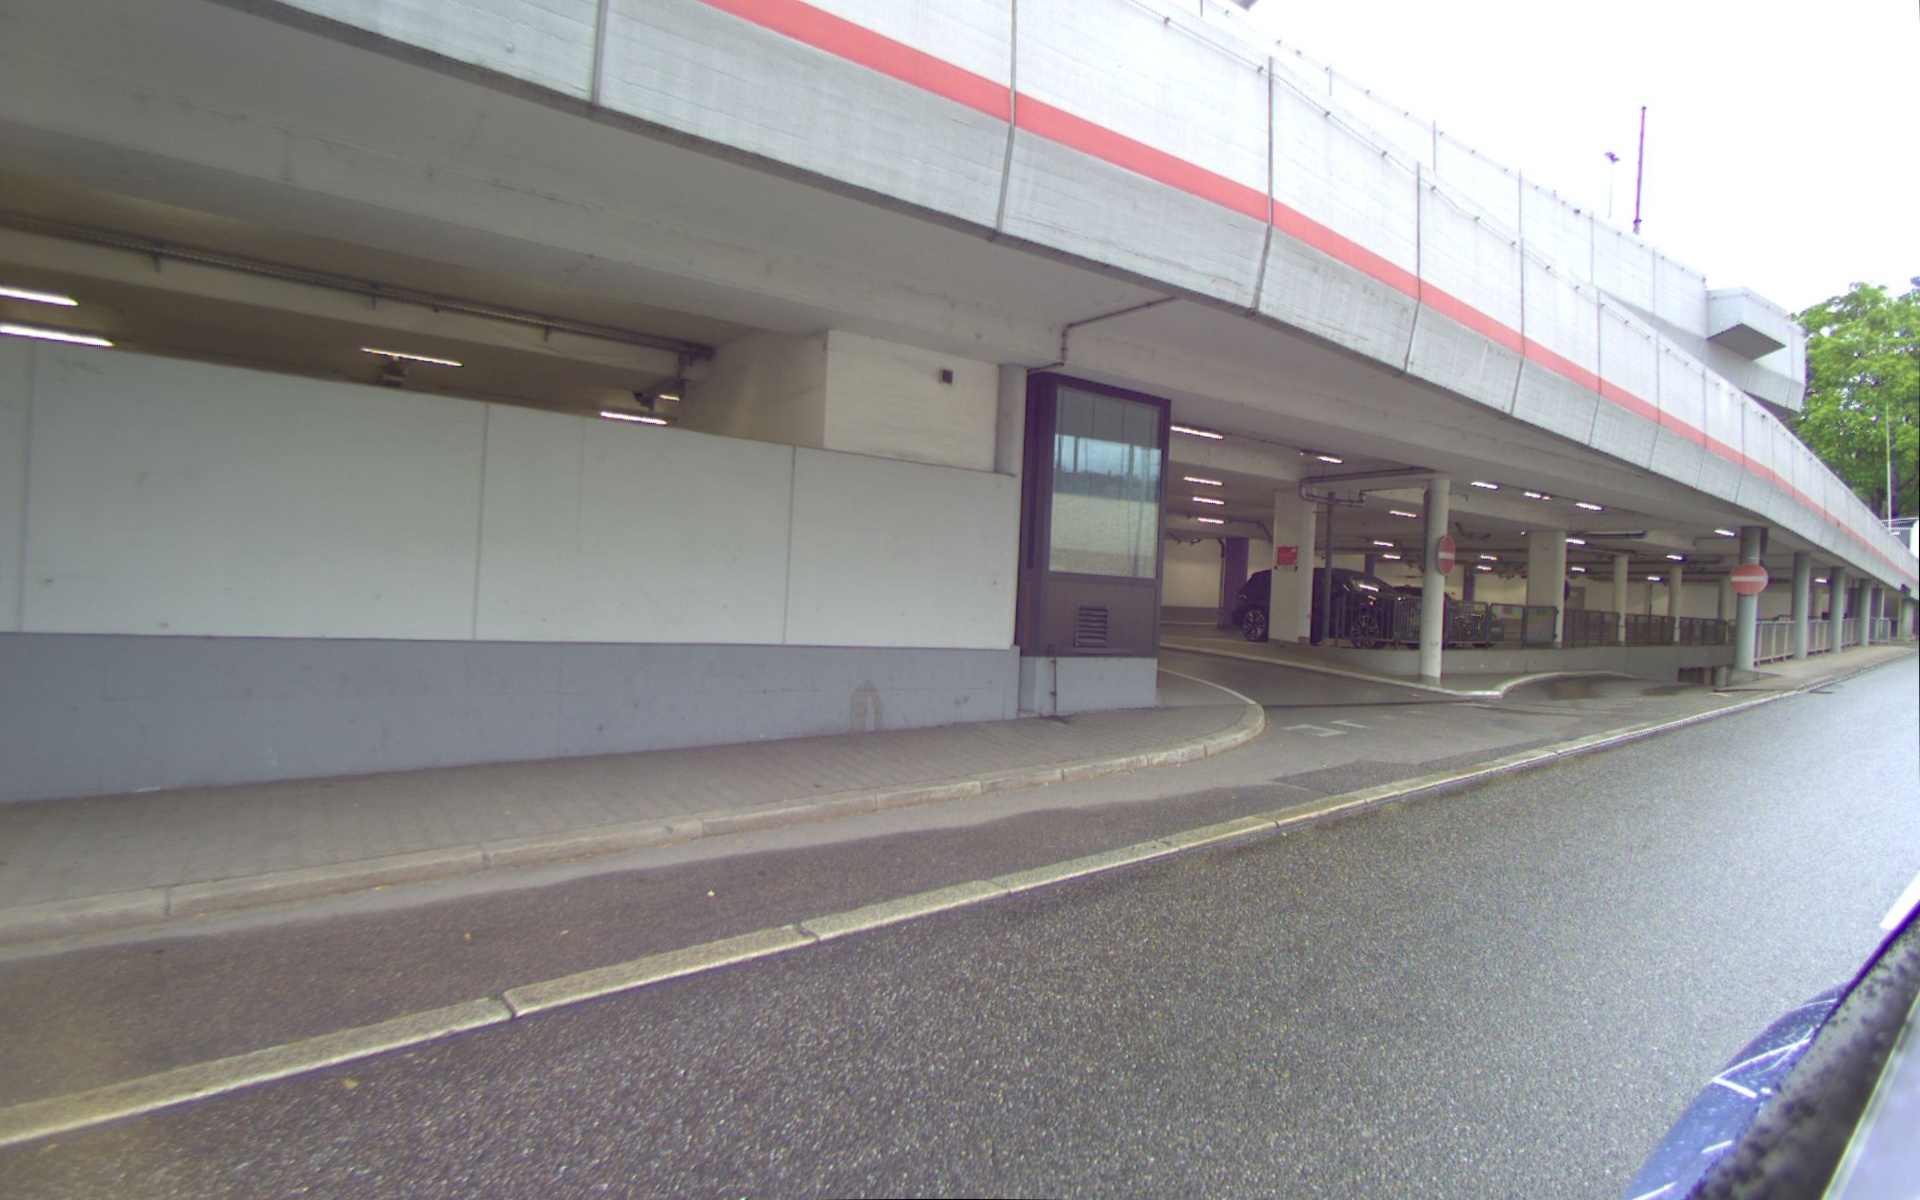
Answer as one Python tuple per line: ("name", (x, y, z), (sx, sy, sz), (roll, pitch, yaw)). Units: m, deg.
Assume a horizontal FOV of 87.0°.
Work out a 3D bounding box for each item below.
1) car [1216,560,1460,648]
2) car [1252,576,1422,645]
("car", (7.830, 0.035, 21.394), (1.788, 1.660, 4.590), (2, 0, -37))
("car", (9.670, 0.241, 26.211), (1.772, 1.524, 3.738), (2, 1, -34))
